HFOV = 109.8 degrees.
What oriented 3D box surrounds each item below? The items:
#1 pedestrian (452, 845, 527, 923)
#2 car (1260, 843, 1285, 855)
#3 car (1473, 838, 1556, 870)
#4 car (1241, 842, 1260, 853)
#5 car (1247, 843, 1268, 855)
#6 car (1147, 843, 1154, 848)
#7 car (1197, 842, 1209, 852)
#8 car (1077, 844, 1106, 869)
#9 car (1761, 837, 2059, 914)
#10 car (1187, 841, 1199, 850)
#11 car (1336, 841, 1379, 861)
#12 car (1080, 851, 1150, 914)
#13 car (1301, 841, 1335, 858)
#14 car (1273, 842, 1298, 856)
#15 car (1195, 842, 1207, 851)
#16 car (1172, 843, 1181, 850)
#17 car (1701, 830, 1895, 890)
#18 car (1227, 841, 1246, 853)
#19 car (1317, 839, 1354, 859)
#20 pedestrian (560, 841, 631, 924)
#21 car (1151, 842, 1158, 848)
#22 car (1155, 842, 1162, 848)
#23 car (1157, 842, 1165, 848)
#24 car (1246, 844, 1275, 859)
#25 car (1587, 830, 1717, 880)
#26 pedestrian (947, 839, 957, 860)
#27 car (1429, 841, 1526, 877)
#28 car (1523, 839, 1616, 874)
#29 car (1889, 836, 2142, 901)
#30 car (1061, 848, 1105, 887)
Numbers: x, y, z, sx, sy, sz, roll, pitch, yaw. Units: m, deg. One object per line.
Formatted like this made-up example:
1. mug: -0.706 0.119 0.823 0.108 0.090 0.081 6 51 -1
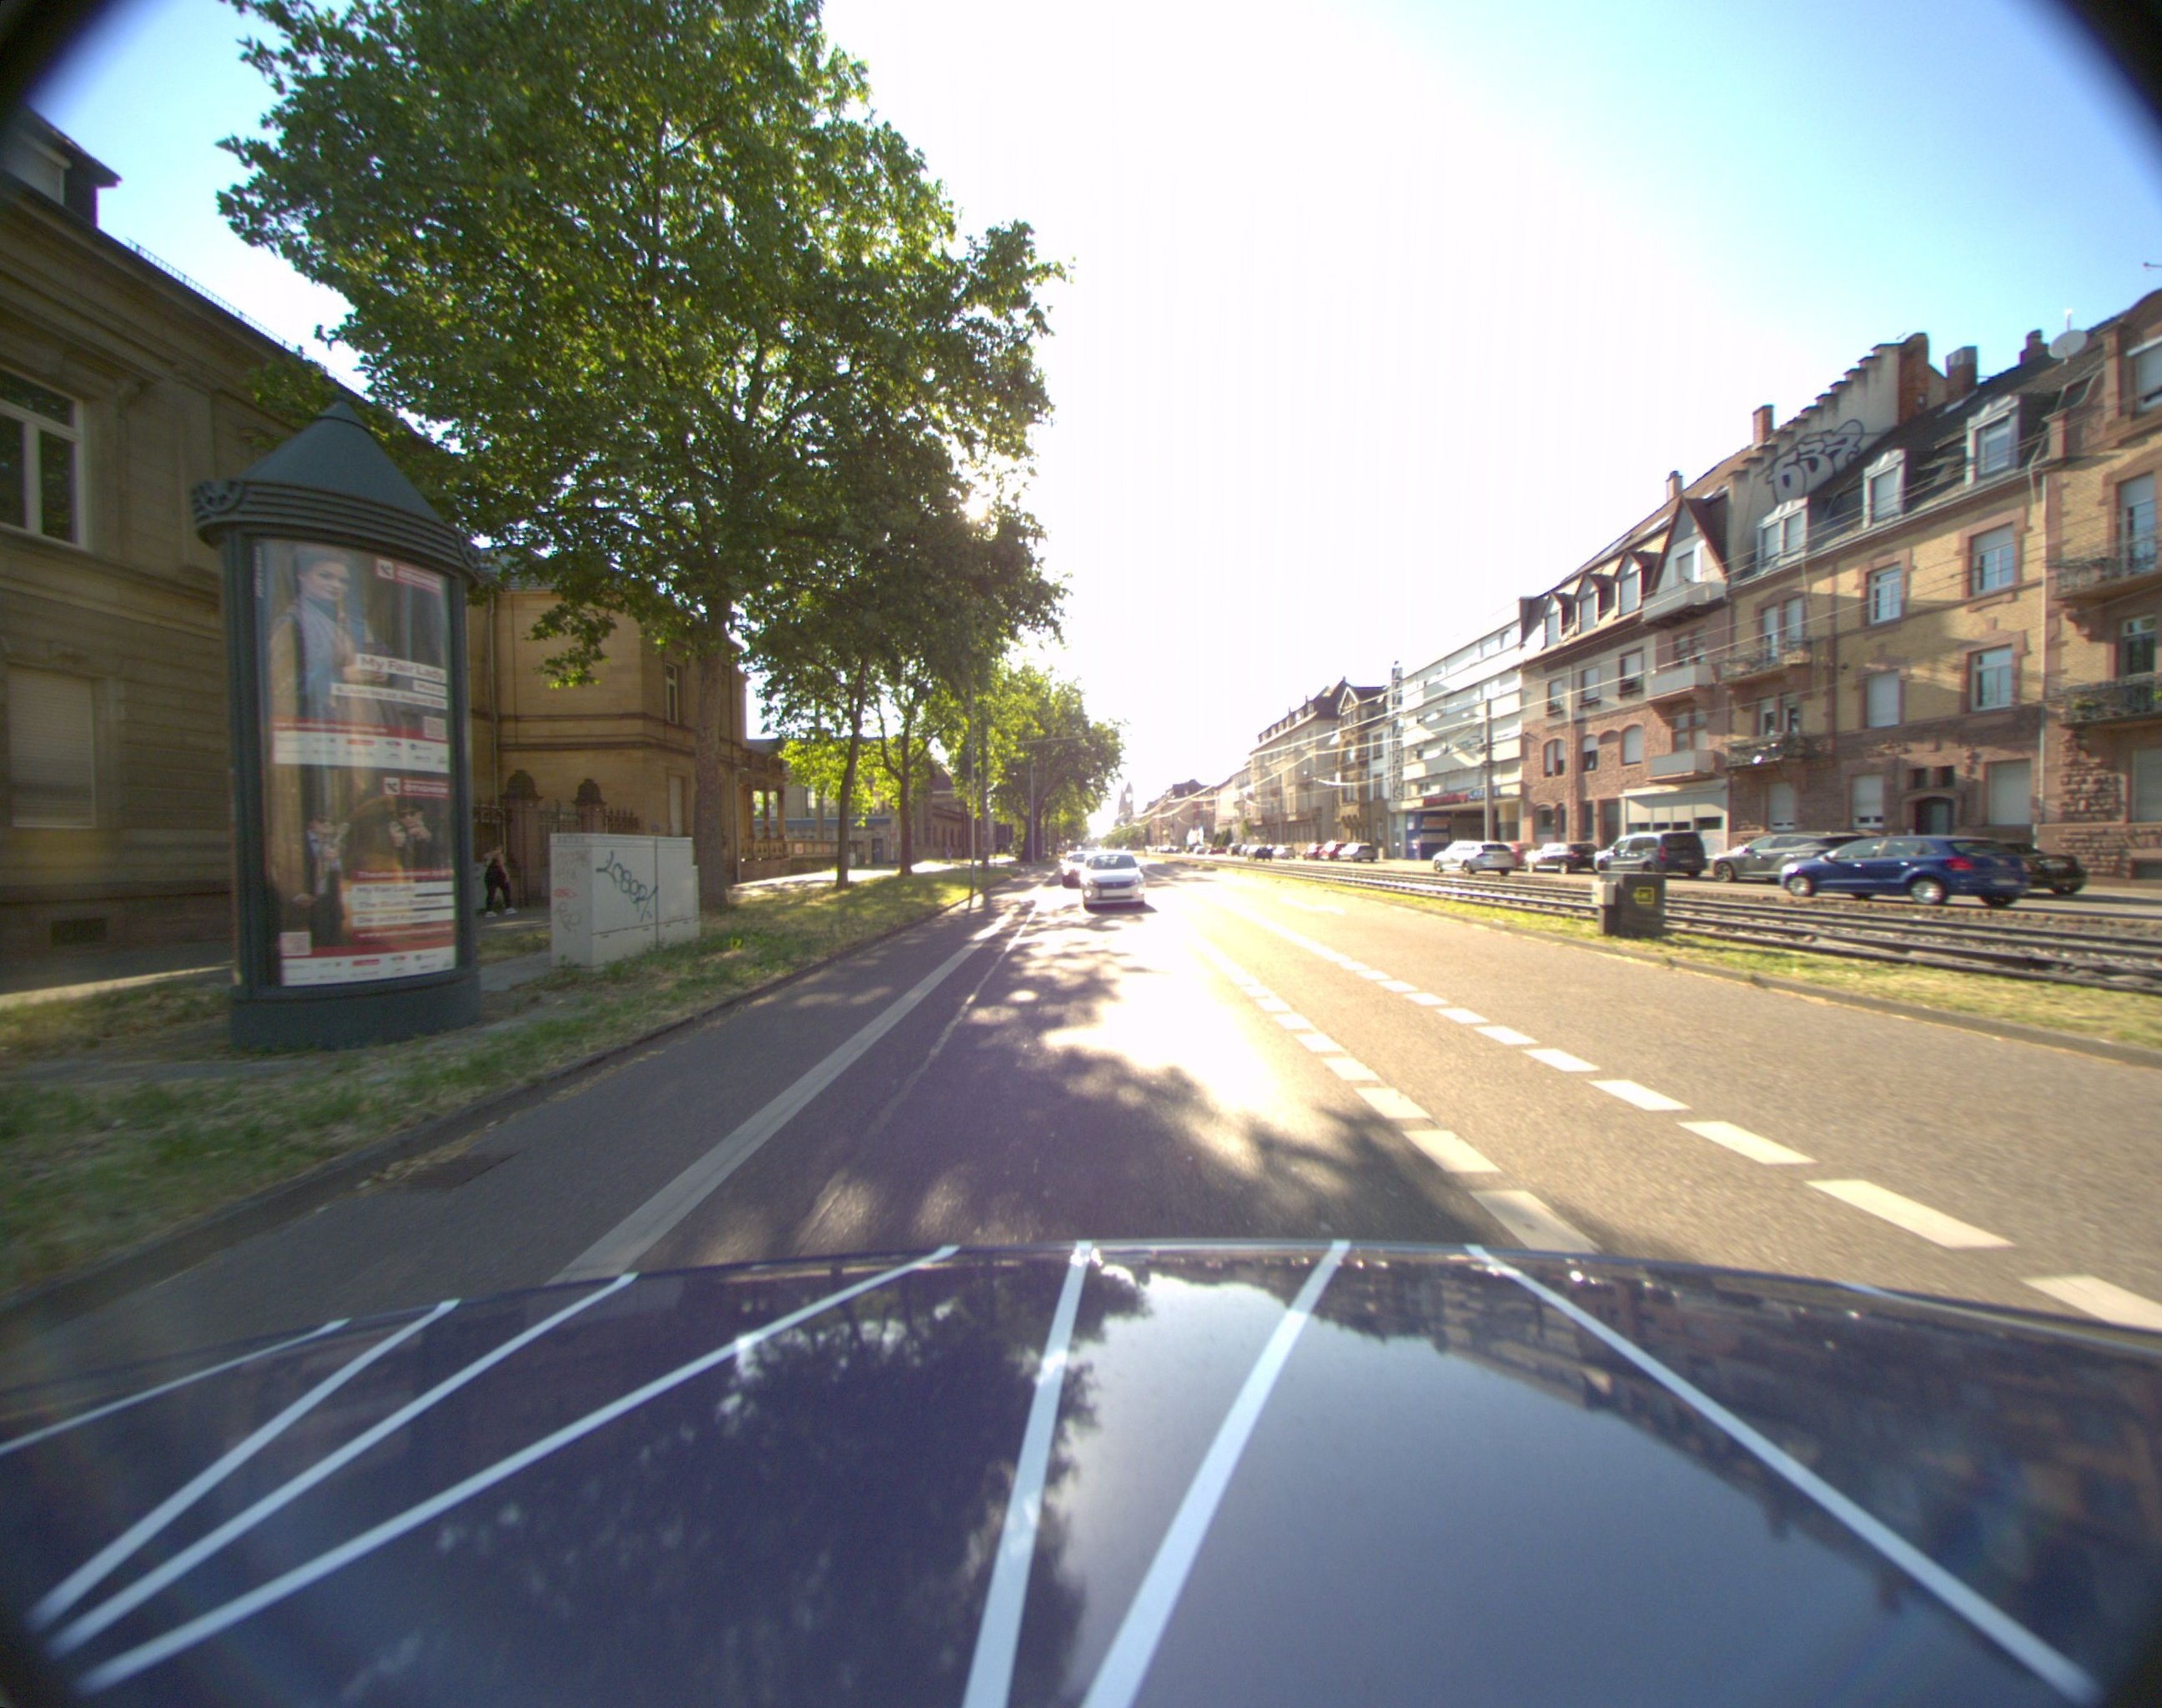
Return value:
1. pedestrian: -12.589 0.621 16.197 0.771 1.597 0.986 0 1 1
2. car: 22.806 -0.600 90.503 1.802 1.422 3.822 -2 1 -2
3. car: 22.858 -0.002 40.225 1.861 1.490 4.209 -4 1 -1
4. car: 23.514 -0.876 105.717 1.802 1.471 3.822 -2 1 0
5. car: 23.147 -0.715 99.750 1.802 1.471 3.822 -2 1 0
6. car: 21.614 -2.685 236.264 1.624 1.581 3.449 -2 1 0
7. car: 22.078 -1.257 137.653 1.677 1.623 3.407 -2 1 0
8. car: 0.715 0.130 50.615 1.834 1.543 3.999 -1 1 1
9. car: 17.664 0.370 16.553 1.825 1.449 4.155 -1 1 -3
10. car: 22.524 -1.766 153.284 1.727 1.776 3.880 -2 1 0
11. car: 22.864 -0.249 62.924 1.861 1.490 4.381 -3 1 -1
12. car: 0.845 0.706 20.948 1.686 1.462 4.054 -2 1 0
13. car: 22.877 -0.431 73.397 1.756 1.487 3.727 -3 1 -6
14. car: 22.956 -0.542 85.320 1.802 1.471 3.822 -2 1 0
15. car: 22.530 -1.479 143.137 1.684 1.562 3.387 -2 1 0
16. car: 21.919 -1.794 173.988 1.624 1.581 3.449 -2 1 0
17. car: 22.694 0.145 24.358 1.861 1.613 4.501 -4 1 -1
18. car: 22.711 -0.999 111.142 1.876 1.727 3.915 -2 1 0
19. car: 22.849 -0.446 68.301 1.860 1.677 4.262 -3 1 1
20. pedestrian: -10.164 0.574 15.955 0.771 1.700 1.042 0 1 1
21. car: 21.692 -2.679 225.472 1.624 1.581 3.449 -2 1 0
22. car: 22.302 -2.557 217.837 1.624 1.581 3.449 -2 1 0
23. car: 22.408 -2.490 212.982 1.624 1.581 3.449 -2 1 0
24. car: 17.365 -0.278 73.716 1.825 1.449 4.164 -1 1 -1
25. car: 22.631 0.001 30.360 1.890 1.748 4.417 -4 1 2
26. pedestrian: -10.248 -0.375 60.347 0.672 1.653 0.874 0 1 1
27. car: 17.295 0.160 33.442 1.825 1.449 4.539 -1 1 -1
28. car: 22.665 0.101 35.453 1.699 1.429 3.927 -4 1 -1
29. car: 22.885 0.310 18.856 1.626 1.347 3.725 -4 1 -1
30. car: 0.093 0.526 31.995 1.686 1.462 4.054 -2 1 0
